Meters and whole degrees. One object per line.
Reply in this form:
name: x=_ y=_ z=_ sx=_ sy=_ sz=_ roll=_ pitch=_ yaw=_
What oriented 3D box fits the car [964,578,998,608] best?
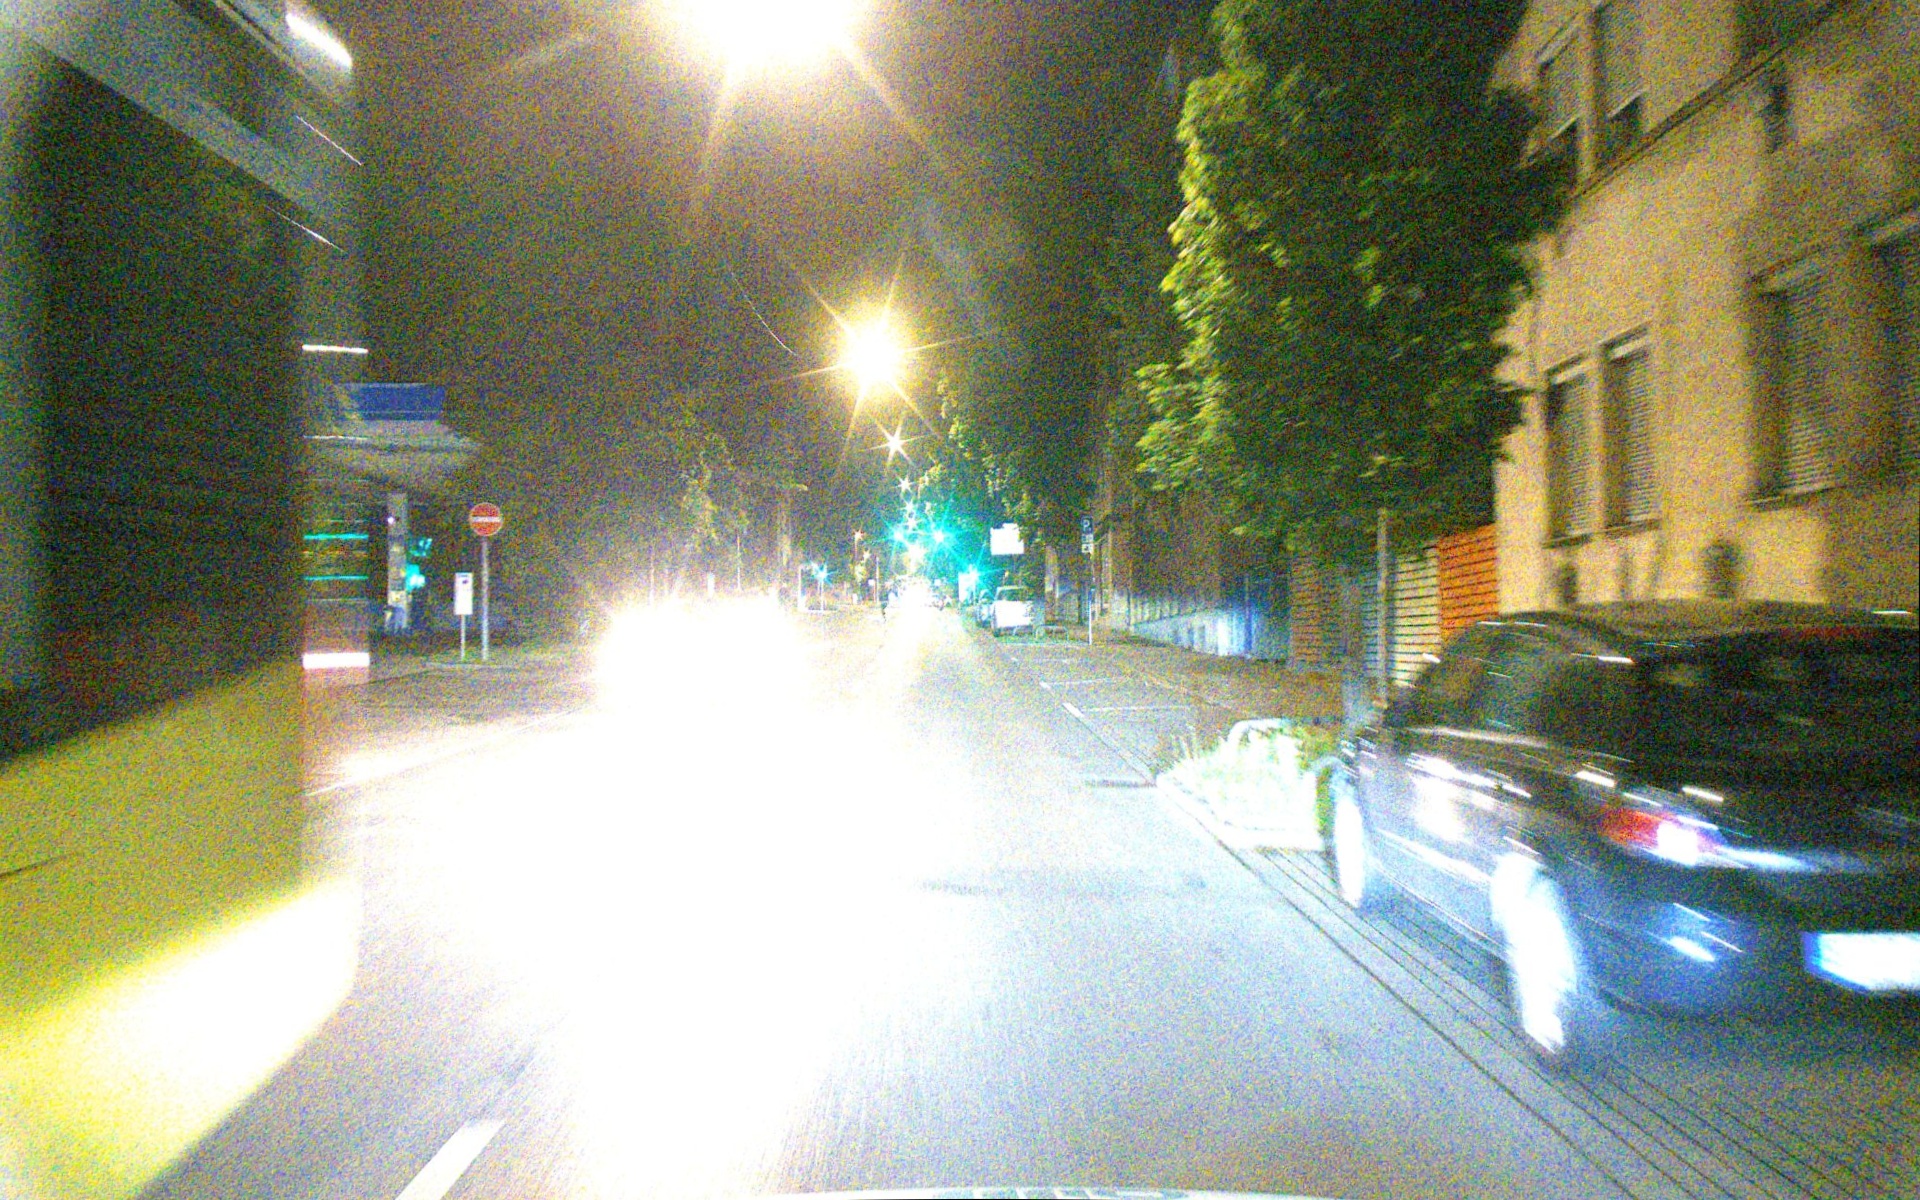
car: x=1.110 y=-0.371 z=87.818 sx=1.596 sy=1.522 sz=3.413 roll=0 pitch=0 yaw=-3

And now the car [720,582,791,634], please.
car: x=-6.068 y=0.216 z=49.473 sx=1.686 sy=1.462 sz=4.808 roll=-1 pitch=0 yaw=-3

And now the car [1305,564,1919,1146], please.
car: x=2.682 y=0.645 z=6.470 sx=1.727 sy=1.501 sz=4.080 roll=-2 pitch=1 yaw=-1

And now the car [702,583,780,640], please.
car: x=-5.899 y=0.286 z=44.915 sx=1.686 sy=1.462 sz=4.189 roll=1 pitch=1 yaw=-2

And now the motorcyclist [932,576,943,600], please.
motorcyclist: x=-1.687 y=-0.912 z=125.386 sx=0.831 sy=1.783 sz=0.805 roll=0 pitch=-1 yaw=-1

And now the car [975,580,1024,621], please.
car: x=1.604 y=-0.013 z=68.624 sx=1.831 sy=1.553 sz=4.149 roll=-2 pitch=1 yaw=-1

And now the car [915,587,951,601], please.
car: x=-2.791 y=-0.625 z=174.796 sx=1.689 sy=1.483 sz=3.901 roll=0 pitch=-1 yaw=40

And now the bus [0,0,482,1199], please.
bus: x=-2.735 y=-0.052 z=0.909 sx=2.780 sy=3.233 sz=7.660 roll=0 pitch=1 yaw=-1

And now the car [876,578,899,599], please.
car: x=-6.424 y=-1.017 z=146.458 sx=1.905 sy=1.747 sz=3.999 roll=0 pitch=-1 yaw=-1

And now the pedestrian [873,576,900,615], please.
pedestrian: x=-3.398 y=-0.205 z=76.176 sx=0.753 sy=1.729 sz=0.921 roll=3 pitch=0 yaw=43

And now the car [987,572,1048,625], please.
car: x=1.875 y=-0.079 z=55.141 sx=1.775 sy=1.621 sz=4.273 roll=-2 pitch=1 yaw=-1

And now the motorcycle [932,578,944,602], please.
motorcycle: x=-1.685 y=-0.745 z=125.341 sx=0.912 sy=1.783 sz=2.624 roll=0 pitch=-1 yaw=-1

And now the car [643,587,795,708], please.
car: x=-3.218 y=0.581 z=22.686 sx=1.612 sy=1.447 sz=3.869 roll=-2 pitch=1 yaw=-2

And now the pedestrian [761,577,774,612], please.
pedestrian: x=-9.415 y=-0.262 z=80.752 sx=0.559 sy=1.729 sz=0.927 roll=0 pitch=-1 yaw=-10

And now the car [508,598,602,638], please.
car: x=-15.559 y=0.690 z=63.546 sx=3.197 sy=1.478 sz=1.790 roll=0 pitch=-1 yaw=31

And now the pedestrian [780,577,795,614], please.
pedestrian: x=-8.439 y=-0.208 z=80.872 sx=0.705 sy=1.796 sz=0.602 roll=0 pitch=-1 yaw=-10
